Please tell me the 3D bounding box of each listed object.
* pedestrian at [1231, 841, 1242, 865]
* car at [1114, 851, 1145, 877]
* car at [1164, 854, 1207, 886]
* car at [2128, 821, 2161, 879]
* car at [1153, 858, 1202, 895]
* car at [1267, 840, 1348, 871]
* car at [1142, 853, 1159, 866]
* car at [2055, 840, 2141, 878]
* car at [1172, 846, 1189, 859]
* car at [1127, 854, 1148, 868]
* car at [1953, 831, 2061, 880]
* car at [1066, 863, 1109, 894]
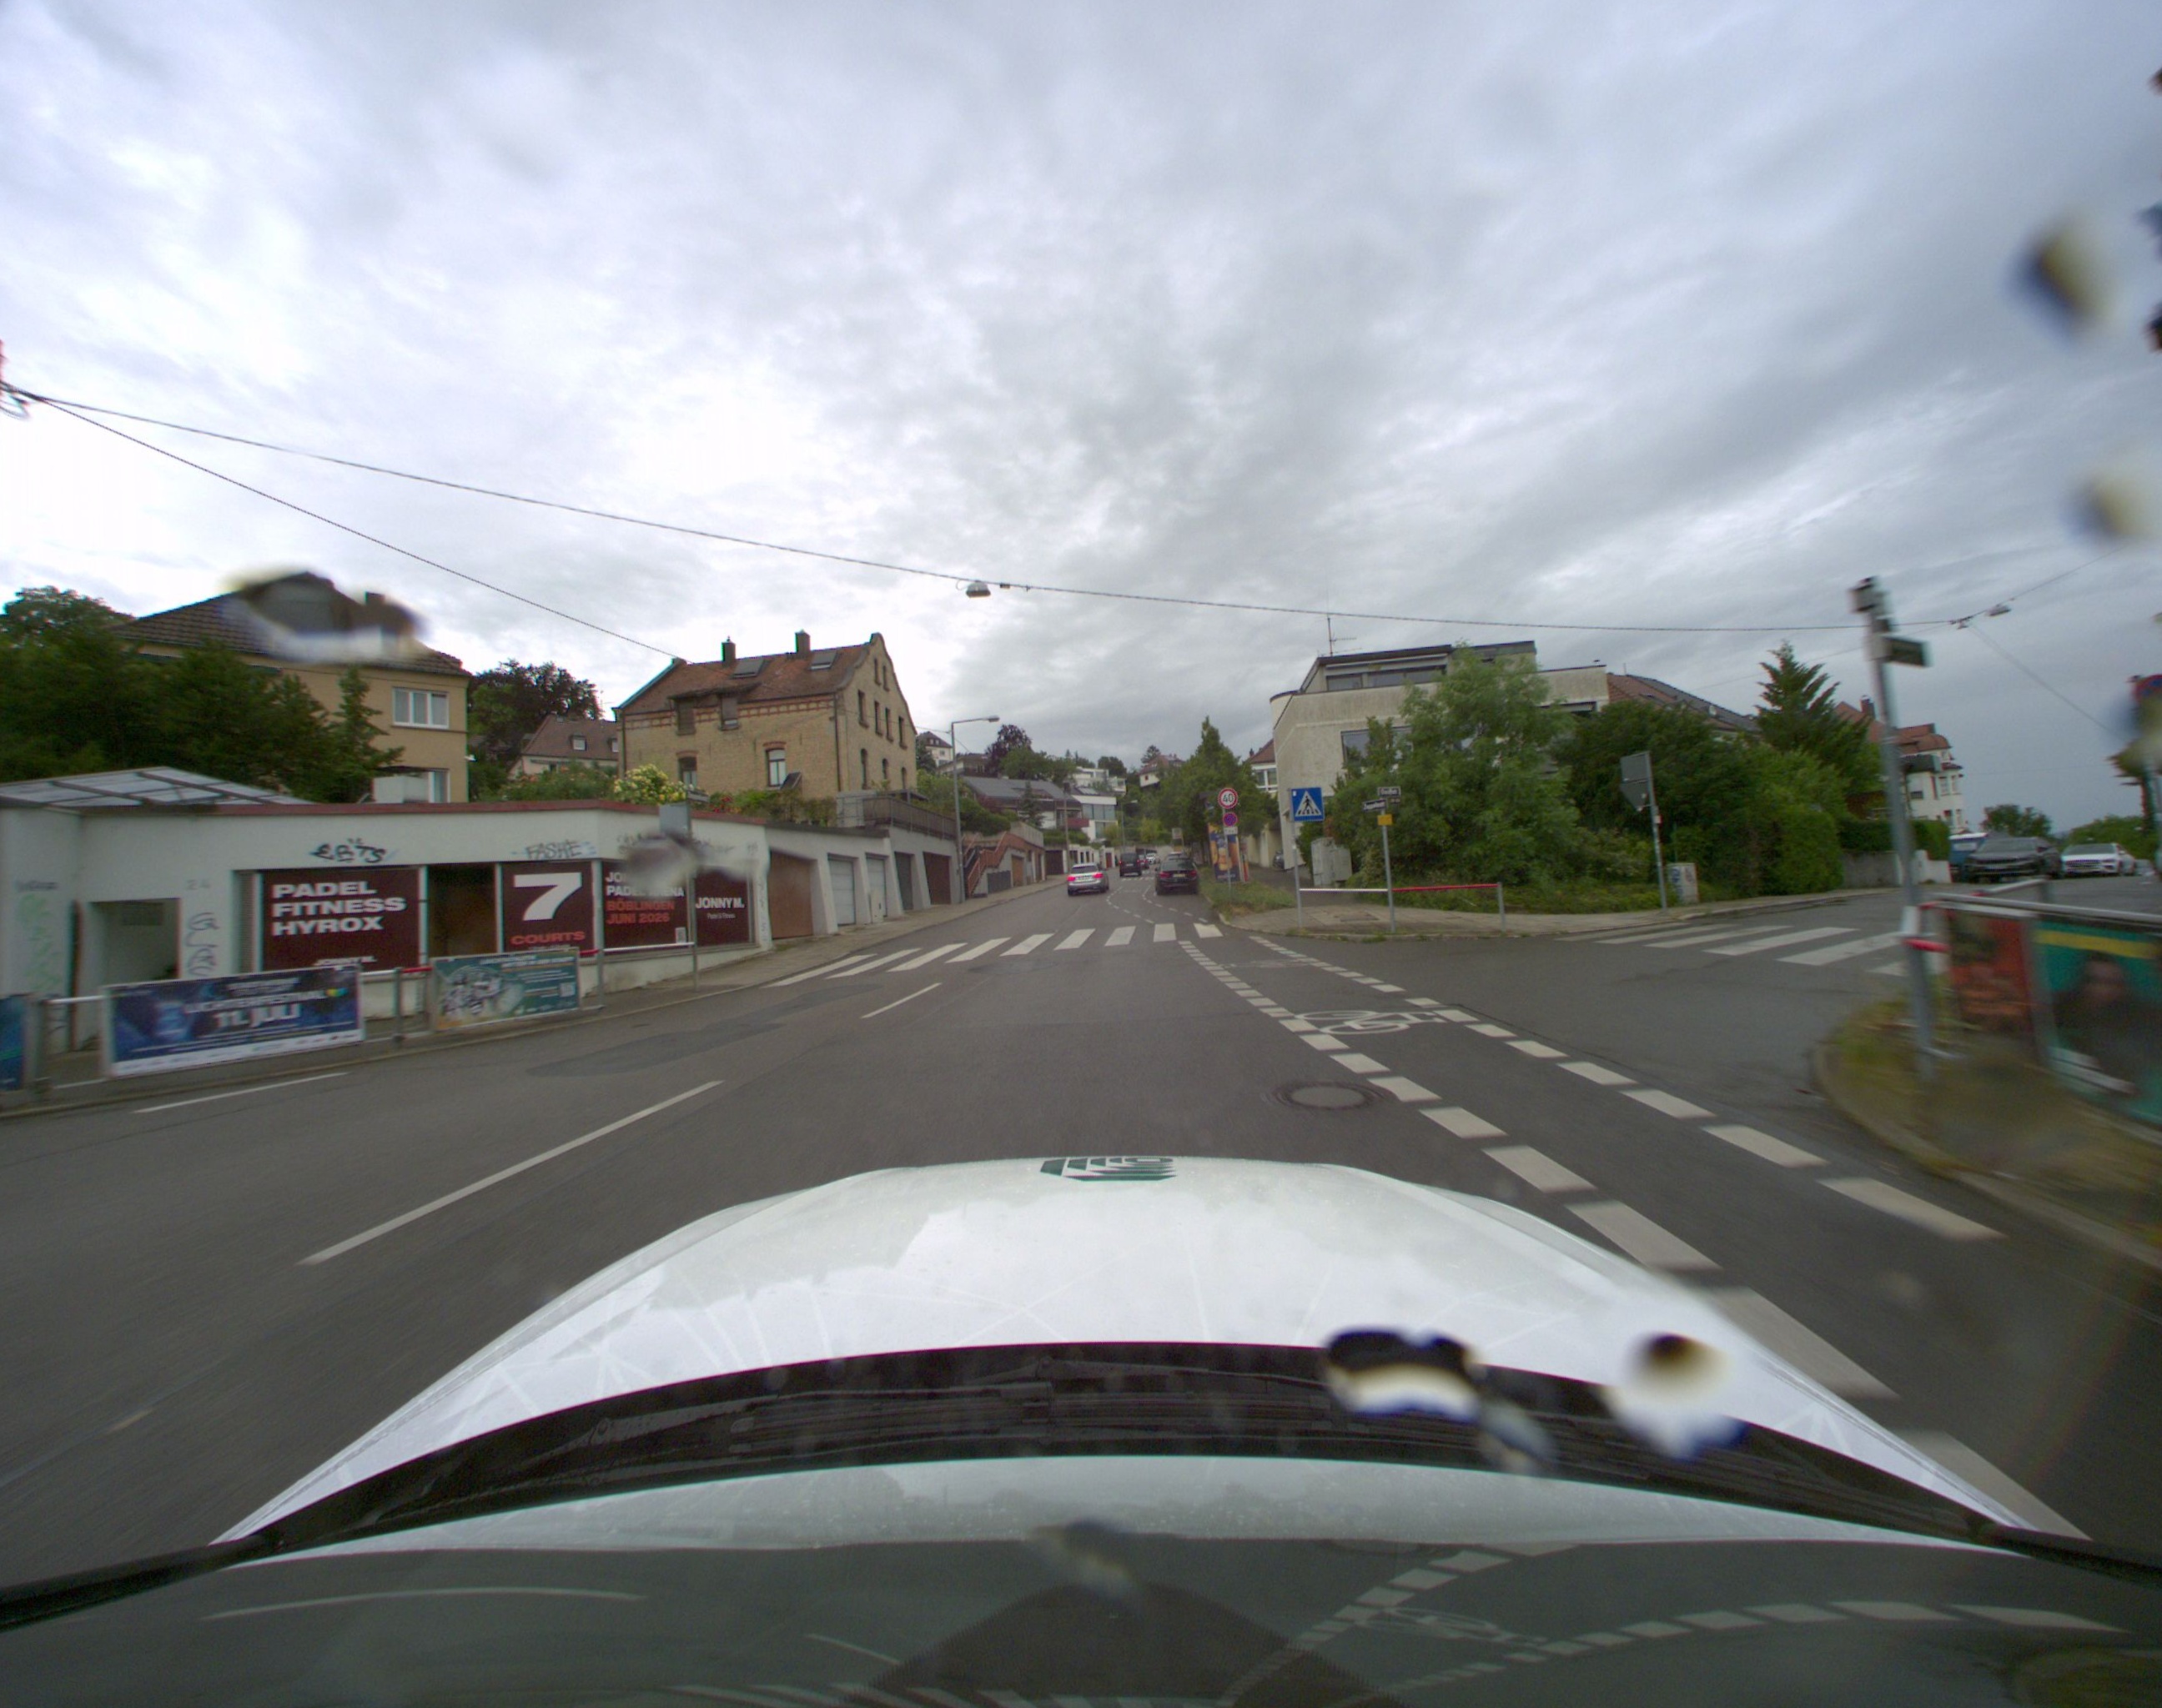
[{"bbox_3d":[11.976,-0.083,62.600,0.636,1.795,0.745,-3,-1,3],"label":"pedestrian"},{"bbox_3d":[3.786,0.762,63.285,1.813,1.819,4.011,-3,0,10],"label":"car"},{"bbox_3d":[5.169,0.767,40.612,1.709,1.450,3.835,-3,0,2],"label":"car"},{"bbox_3d":[29.346,-0.199,21.347,4.014,1.433,1.847,-3,-2,-32],"label":"car"},{"bbox_3d":[4.125,0.920,35.414,1.764,1.377,4.352,-3,0,3],"label":"car"},{"bbox_3d":[12.156,0.088,43.611,3.953,1.415,1.734,-3,-1,21],"label":"car"},{"bbox_3d":[9.649,0.758,113.599,1.715,1.606,3.562,-3,-1,14],"label":"car"},{"bbox_3d":[46.507,0.270,37.229,4.014,1.508,1.979,1,-6,-33],"label":"car"},{"bbox_3d":[9.907,-0.149,81.029,1.459,1.254,3.592,-3,0,10],"label":"car"},{"bbox_3d":[5.671,0.683,81.058,1.814,1.296,4.008,-3,0,7],"label":"car"},{"bbox_3d":[34.439,0.098,30.272,4.014,1.596,1.979,1,-6,-33],"label":"car"},{"bbox_3d":[0.355,1.120,38.954,1.803,1.361,4.004,-2,-1,3],"label":"car"}]
